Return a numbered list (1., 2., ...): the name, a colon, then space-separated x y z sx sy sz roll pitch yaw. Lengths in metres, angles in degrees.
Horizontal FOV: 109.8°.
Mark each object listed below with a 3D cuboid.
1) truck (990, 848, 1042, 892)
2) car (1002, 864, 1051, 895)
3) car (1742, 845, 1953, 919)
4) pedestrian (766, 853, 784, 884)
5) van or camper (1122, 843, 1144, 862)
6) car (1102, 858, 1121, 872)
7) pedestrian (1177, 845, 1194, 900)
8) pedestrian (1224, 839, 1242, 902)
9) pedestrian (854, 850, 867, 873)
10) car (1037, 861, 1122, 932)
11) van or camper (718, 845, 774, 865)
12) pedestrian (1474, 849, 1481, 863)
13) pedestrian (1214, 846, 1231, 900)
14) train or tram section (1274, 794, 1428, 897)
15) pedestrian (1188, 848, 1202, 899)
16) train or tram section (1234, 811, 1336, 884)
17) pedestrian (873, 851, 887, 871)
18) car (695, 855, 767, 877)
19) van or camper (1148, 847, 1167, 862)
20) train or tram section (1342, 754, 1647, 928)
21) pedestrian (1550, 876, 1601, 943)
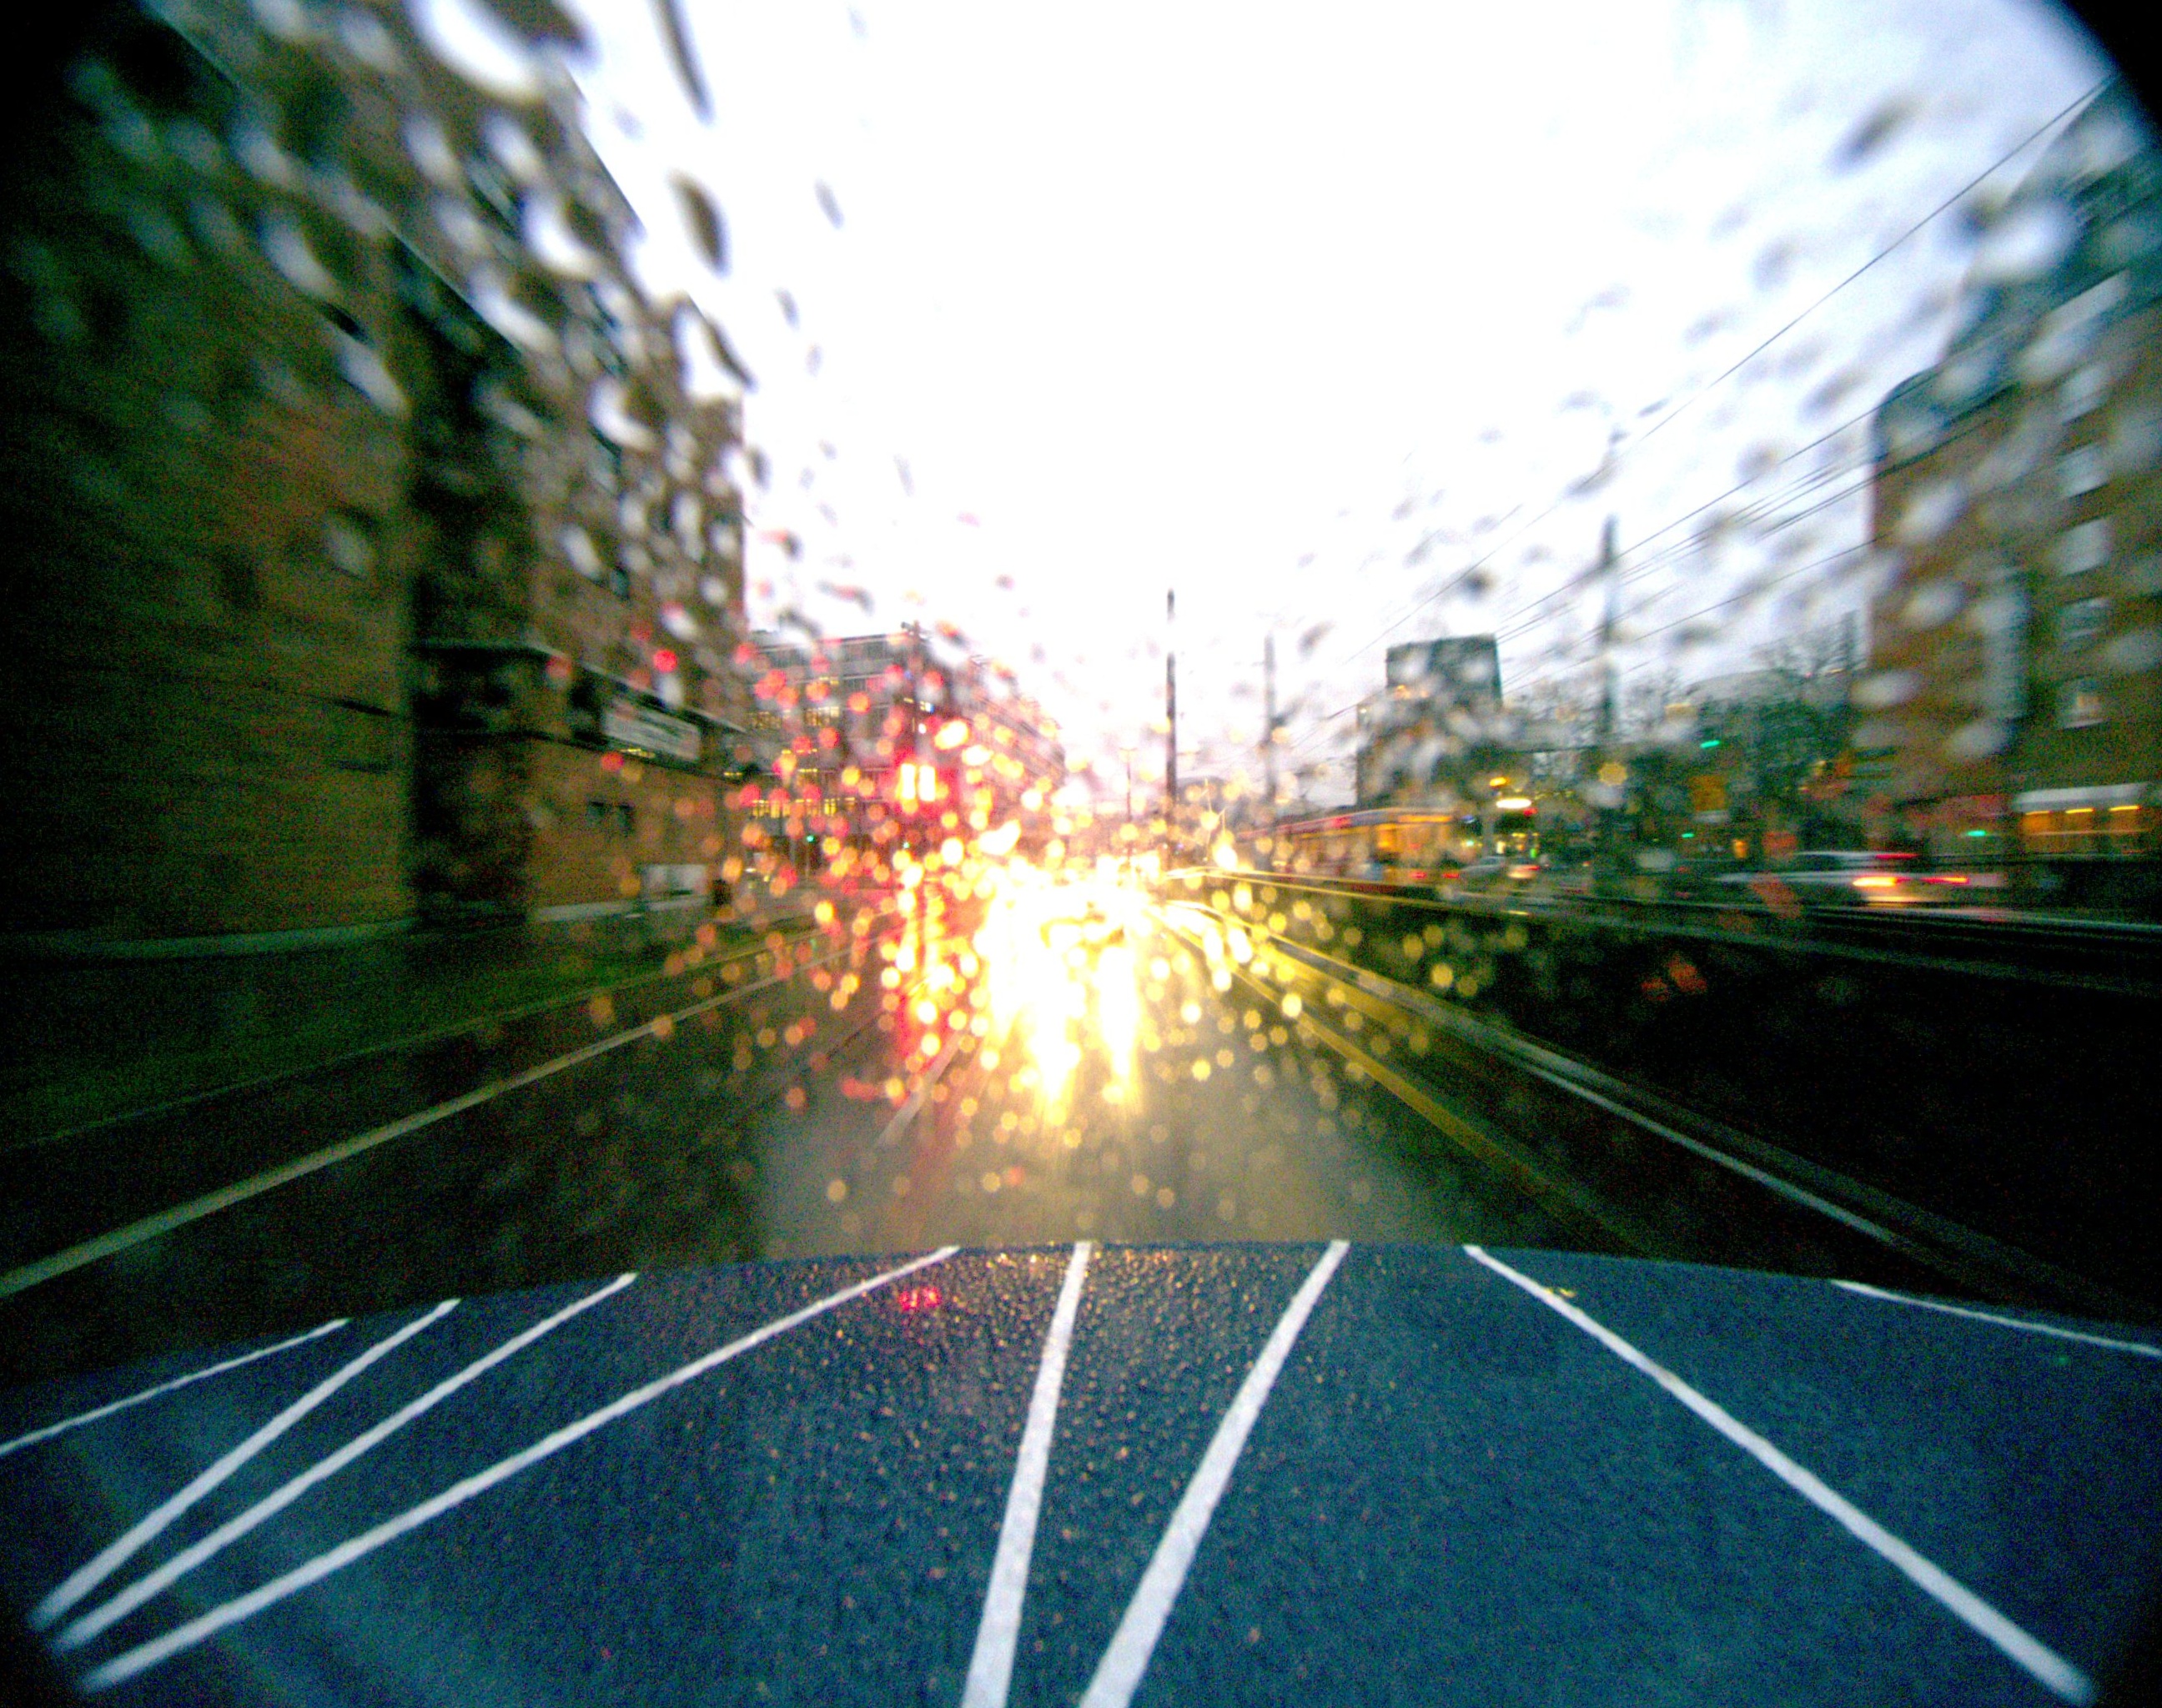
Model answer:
1. truck: -2.993 0.710 35.851 1.909 1.905 4.617 -2 0 1
2. car: -3.483 1.627 49.305 1.908 1.808 4.693 -2 0 11
3. car: 17.340 0.571 17.416 1.521 1.508 3.325 -1 1 1
4. pedestrian: -17.287 0.813 42.890 0.735 1.776 0.735 0 1 -2
5. van or camper: 7.295 -0.198 105.870 2.059 2.533 5.891 -2 0 13
6. car: 3.722 1.340 92.988 1.683 1.563 3.764 0 0 13
7. pedestrian: 3.545 0.611 25.791 0.413 1.835 0.669 -1 1 -3
8. pedestrian: 4.798 0.515 24.060 0.434 1.956 0.473 -1 1 -3
9. pedestrian: -17.112 0.561 58.953 0.802 1.800 0.649 0 1 -32
10. car: 0.000 0.918 18.323 1.774 1.449 4.222 -2 0 1
11. van or camper: -33.342 0.064 75.698 4.743 1.917 1.842 -1 0 3
12. pedestrian: 48.186 0.196 92.304 0.726 1.698 0.695 0 1 21
13. pedestrian: 4.580 0.604 24.554 0.434 1.725 0.473 -1 1 -3
14. train or tram section: 10.988 -0.314 32.517 2.932 3.557 11.036 -2 0 2
15. pedestrian: 3.967 0.668 26.481 0.360 1.776 0.440 -1 1 -3
16. train or tram section: 11.452 -0.345 44.132 2.957 3.568 12.256 -2 0 2
17. pedestrian: -18.502 0.632 70.029 1.152 1.776 0.777 0 1 -8
18. car: -23.740 0.780 51.576 3.990 1.333 1.815 -2 0 4
19. van or camper: 12.911 0.082 127.743 2.183 2.338 5.656 -2 0 16
20. train or tram section: 10.589 -0.283 21.500 2.906 3.547 11.036 -2 0 2
21. pedestrian: 8.812 0.982 13.554 0.581 1.146 0.490 -2 1 3
